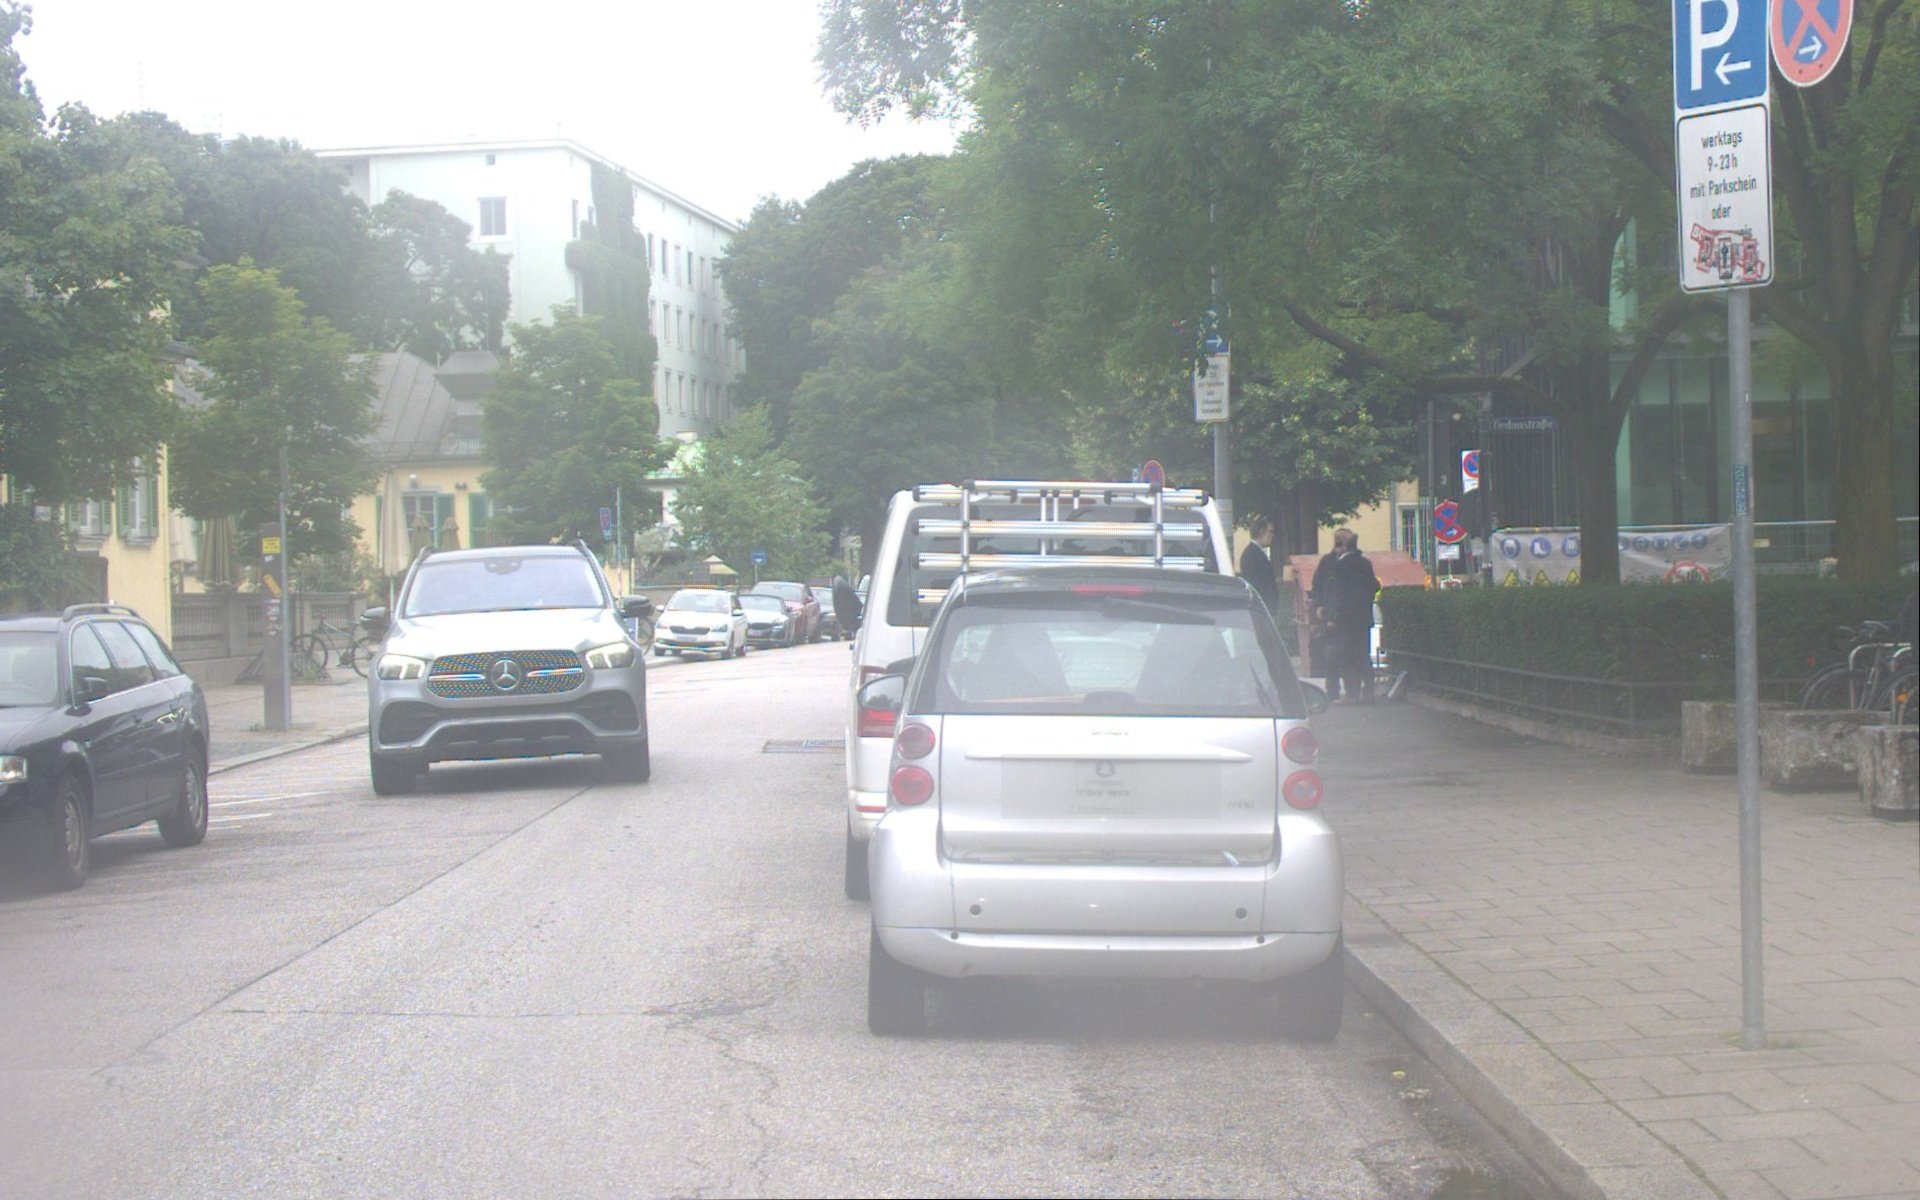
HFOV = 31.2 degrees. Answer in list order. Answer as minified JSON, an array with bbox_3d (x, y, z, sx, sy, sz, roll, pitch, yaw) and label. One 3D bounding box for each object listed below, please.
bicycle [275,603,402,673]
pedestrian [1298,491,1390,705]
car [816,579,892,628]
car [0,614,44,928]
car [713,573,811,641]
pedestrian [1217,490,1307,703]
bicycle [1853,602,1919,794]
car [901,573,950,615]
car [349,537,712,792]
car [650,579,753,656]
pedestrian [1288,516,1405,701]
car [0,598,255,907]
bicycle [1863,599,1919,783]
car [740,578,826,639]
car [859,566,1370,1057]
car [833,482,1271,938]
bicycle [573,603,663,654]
[{"bbox_3d":[-10.105,0.620,55.899,1.931,1.095,0.615,1,0,3],"label":"bicycle"},{"bbox_3d":[3.903,-0.022,35.011,0.742,2.127,1.056,-2,0,-1],"label":"pedestrian"},{"bbox_3d":[-3.394,0.100,110.784,1.994,1.481,3.999,-1,1,4],"label":"car"},{"bbox_3d":[-5.330,0.834,14.072,1.922,1.434,4.918,-3,0,-2],"label":"car"},{"bbox_3d":[-5.029,0.151,87.860,1.994,1.643,4.655,-1,0,3],"label":"car"},{"bbox_3d":[3.099,-0.040,35.347,0.742,2.127,1.056,-2,0,-1],"label":"pedestrian"},{"bbox_3d":[6.375,0.545,20.498,1.931,1.110,0.471,-2,0,2],"label":"bicycle"},{"bbox_3d":[-1.399,-0.252,142.115,1.810,1.677,4.000,-1,1,2],"label":"car"},{"bbox_3d":[-3.117,0.422,25.942,2.025,1.683,4.677,-2,1,1],"label":"car"},{"bbox_3d":[-5.634,0.364,75.274,1.734,1.576,3.787,2,0,3],"label":"car"},{"bbox_3d":[4.074,0.081,36.224,0.744,1.901,1.054,-2,0,35],"label":"pedestrian"},{"bbox_3d":[-5.525,0.789,19.334,1.993,1.486,4.883,-3,0,1],"label":"car"},{"bbox_3d":[6.639,0.525,21.287,1.931,1.110,0.471,-2,0,2],"label":"bicycle"},{"bbox_3d":[-4.758,0.248,92.941,1.993,1.597,4.000,-1,-1,1],"label":"car"},{"bbox_3d":[0.488,0.660,12.398,1.605,1.541,2.934,1,0,0],"label":"car"},{"bbox_3d":[0.337,0.456,17.499,1.845,1.926,5.273,1,0,-1],"label":"car"},{"bbox_3d":[-7.031,0.579,70.771,0.623,1.001,2.136,2,1,33],"label":"bicycle"}]
